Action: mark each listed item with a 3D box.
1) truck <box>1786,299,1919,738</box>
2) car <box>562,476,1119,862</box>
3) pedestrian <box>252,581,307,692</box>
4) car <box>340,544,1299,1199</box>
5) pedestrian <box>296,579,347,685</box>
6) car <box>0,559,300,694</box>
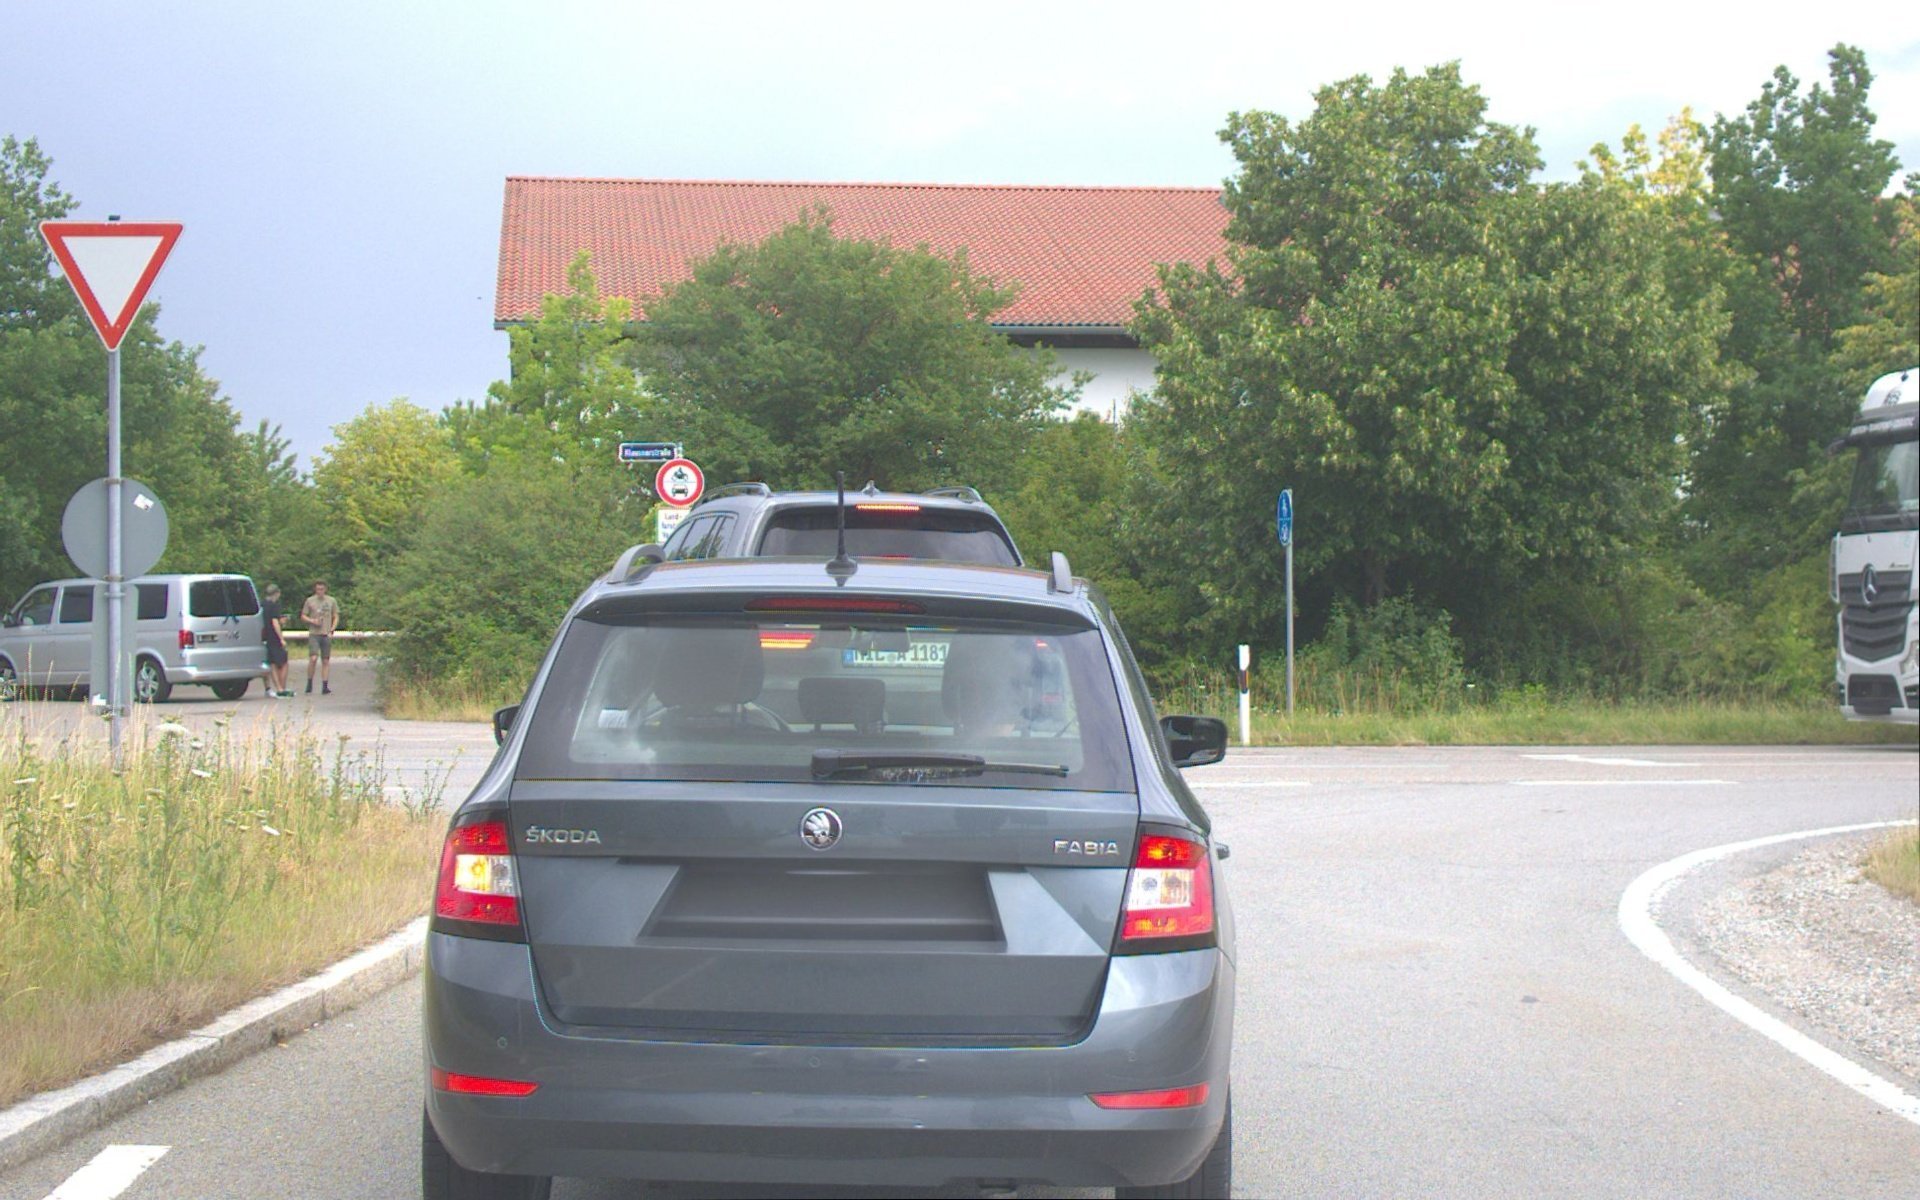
[{"bbox_3d":[12.079,-0.719,33.278,7.282,4.001,3.129,0,-1,-7],"label":"truck"},{"bbox_3d":[-0.797,0.323,18.276,1.993,1.768,4.645,0,0,-15],"label":"car"},{"bbox_3d":[-10.678,0.562,53.937,0.529,1.720,0.640,0,2,32],"label":"pedestrian"},{"bbox_3d":[-0.334,0.630,7.952,1.676,1.457,3.708,1,1,-3],"label":"car"},{"bbox_3d":[-10.333,0.513,55.638,0.583,1.677,0.566,-2,2,-41],"label":"pedestrian"},{"bbox_3d":[-13.068,0.379,54.336,4.908,2.007,2.338,0,2,33],"label":"car"}]
